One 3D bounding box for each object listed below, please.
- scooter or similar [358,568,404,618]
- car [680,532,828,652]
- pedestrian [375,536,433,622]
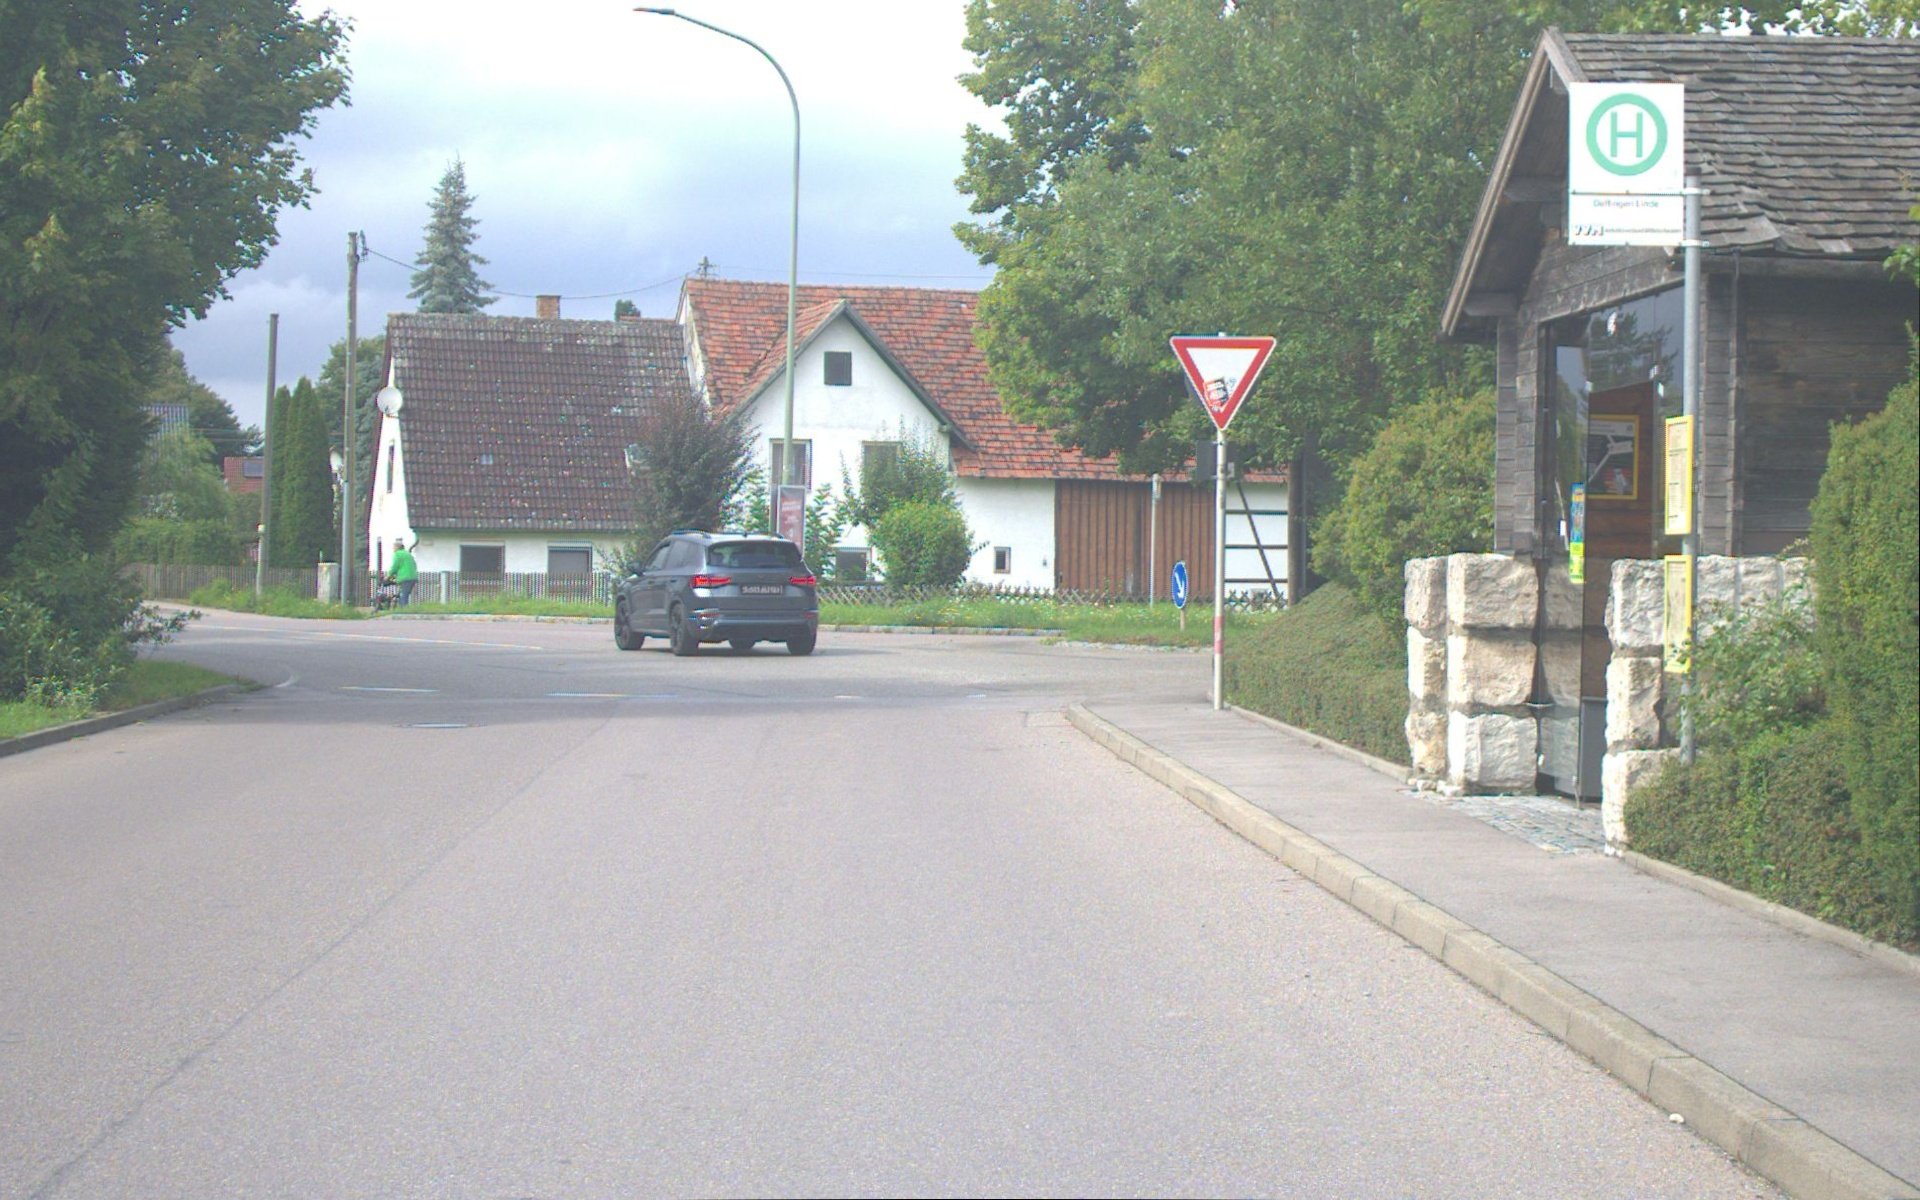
[{"bbox_3d":[-11.727,-0.146,69.646,0.630,0.945,0.622,5,-2,-34],"label":"scooter or similar"},{"bbox_3d":[-2.710,-0.131,44.579,1.798,1.457,3.663,1,1,-5],"label":"car"},{"bbox_3d":[-11.188,-0.432,69.154,0.788,1.659,0.712,5,-2,-34],"label":"pedestrian"}]
